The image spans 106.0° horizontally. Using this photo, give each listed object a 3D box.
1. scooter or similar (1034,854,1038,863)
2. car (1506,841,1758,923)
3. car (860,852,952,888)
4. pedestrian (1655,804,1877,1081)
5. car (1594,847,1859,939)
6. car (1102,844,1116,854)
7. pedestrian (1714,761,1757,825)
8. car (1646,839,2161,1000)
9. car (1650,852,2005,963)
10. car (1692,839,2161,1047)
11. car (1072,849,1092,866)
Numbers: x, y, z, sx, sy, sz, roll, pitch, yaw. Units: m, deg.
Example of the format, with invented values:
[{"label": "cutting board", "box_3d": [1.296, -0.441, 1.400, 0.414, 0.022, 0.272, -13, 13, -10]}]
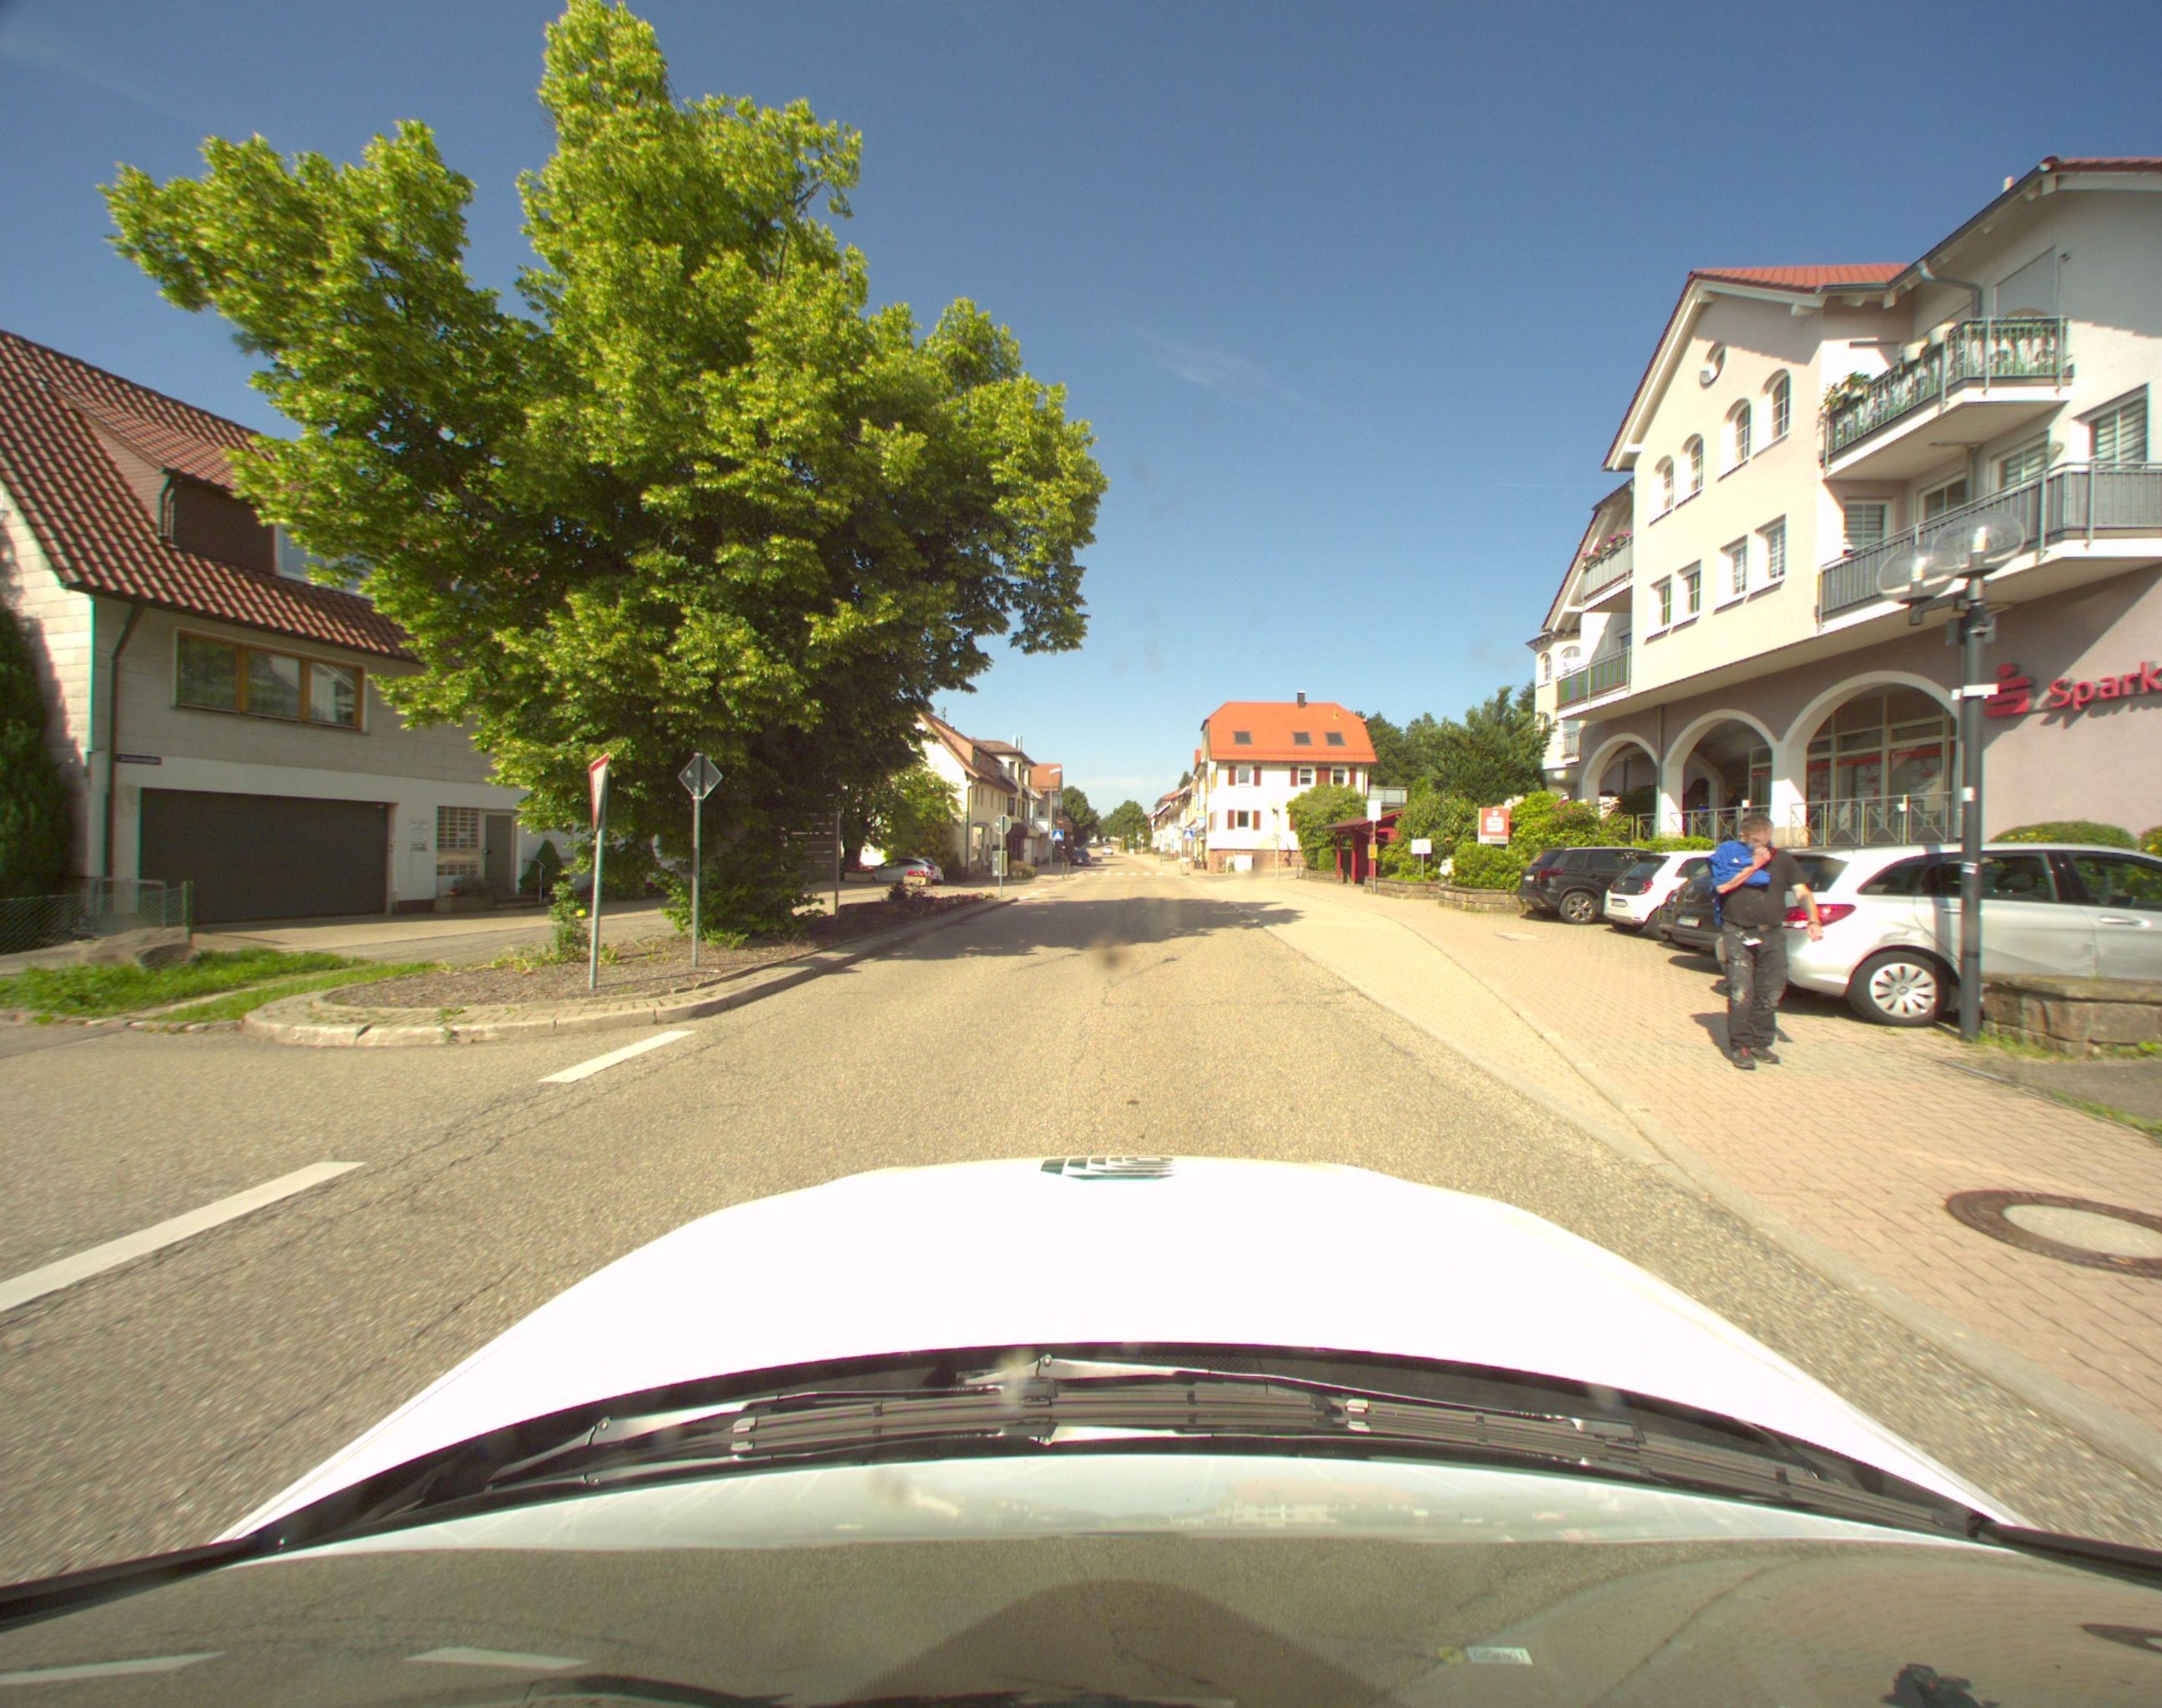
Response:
[{"label": "scooter or similar", "box_3d": [-4.276, 0.445, 77.802, 0.350, 0.890, 0.394, -2, 0, -3]}, {"label": "car", "box_3d": [11.394, 0.558, 17.105, 3.966, 1.548, 1.884, -1, 0, 6]}, {"label": "car", "box_3d": [-8.118, 0.792, 37.857, 3.731, 1.455, 1.824, -2, -5, 16]}, {"label": "pedestrian", "box_3d": [4.793, 0.569, 5.784, 0.795, 1.784, 0.982, -1, 0, 9]}, {"label": "car", "box_3d": [11.043, 0.649, 14.156, 3.212, 1.468, 1.633, -1, 0, 11]}, {"label": "car", "box_3d": [5.533, -0.963, 161.372, 2.488, 2.013, 4.302, -2, 0, -1]}, {"label": "pedestrian", "box_3d": [18.138, -1.682, 22.584, 0.609, 1.722, 0.758, -2, 1, 7]}, {"label": "car", "box_3d": [9.181, 0.635, 9.430, 3.958, 1.549, 1.745, 1, 1, 14]}, {"label": "car", "box_3d": [10.703, 0.714, 11.941, 3.535, 1.418, 1.587, 1, 1, 11]}, {"label": "car", "box_3d": [8.040, 0.658, 7.166, 3.832, 1.558, 1.972, 0, 1, 16]}, {"label": "car", "box_3d": [0.124, 0.364, 83.265, 1.665, 1.533, 3.539, 4, 1, 4]}]
